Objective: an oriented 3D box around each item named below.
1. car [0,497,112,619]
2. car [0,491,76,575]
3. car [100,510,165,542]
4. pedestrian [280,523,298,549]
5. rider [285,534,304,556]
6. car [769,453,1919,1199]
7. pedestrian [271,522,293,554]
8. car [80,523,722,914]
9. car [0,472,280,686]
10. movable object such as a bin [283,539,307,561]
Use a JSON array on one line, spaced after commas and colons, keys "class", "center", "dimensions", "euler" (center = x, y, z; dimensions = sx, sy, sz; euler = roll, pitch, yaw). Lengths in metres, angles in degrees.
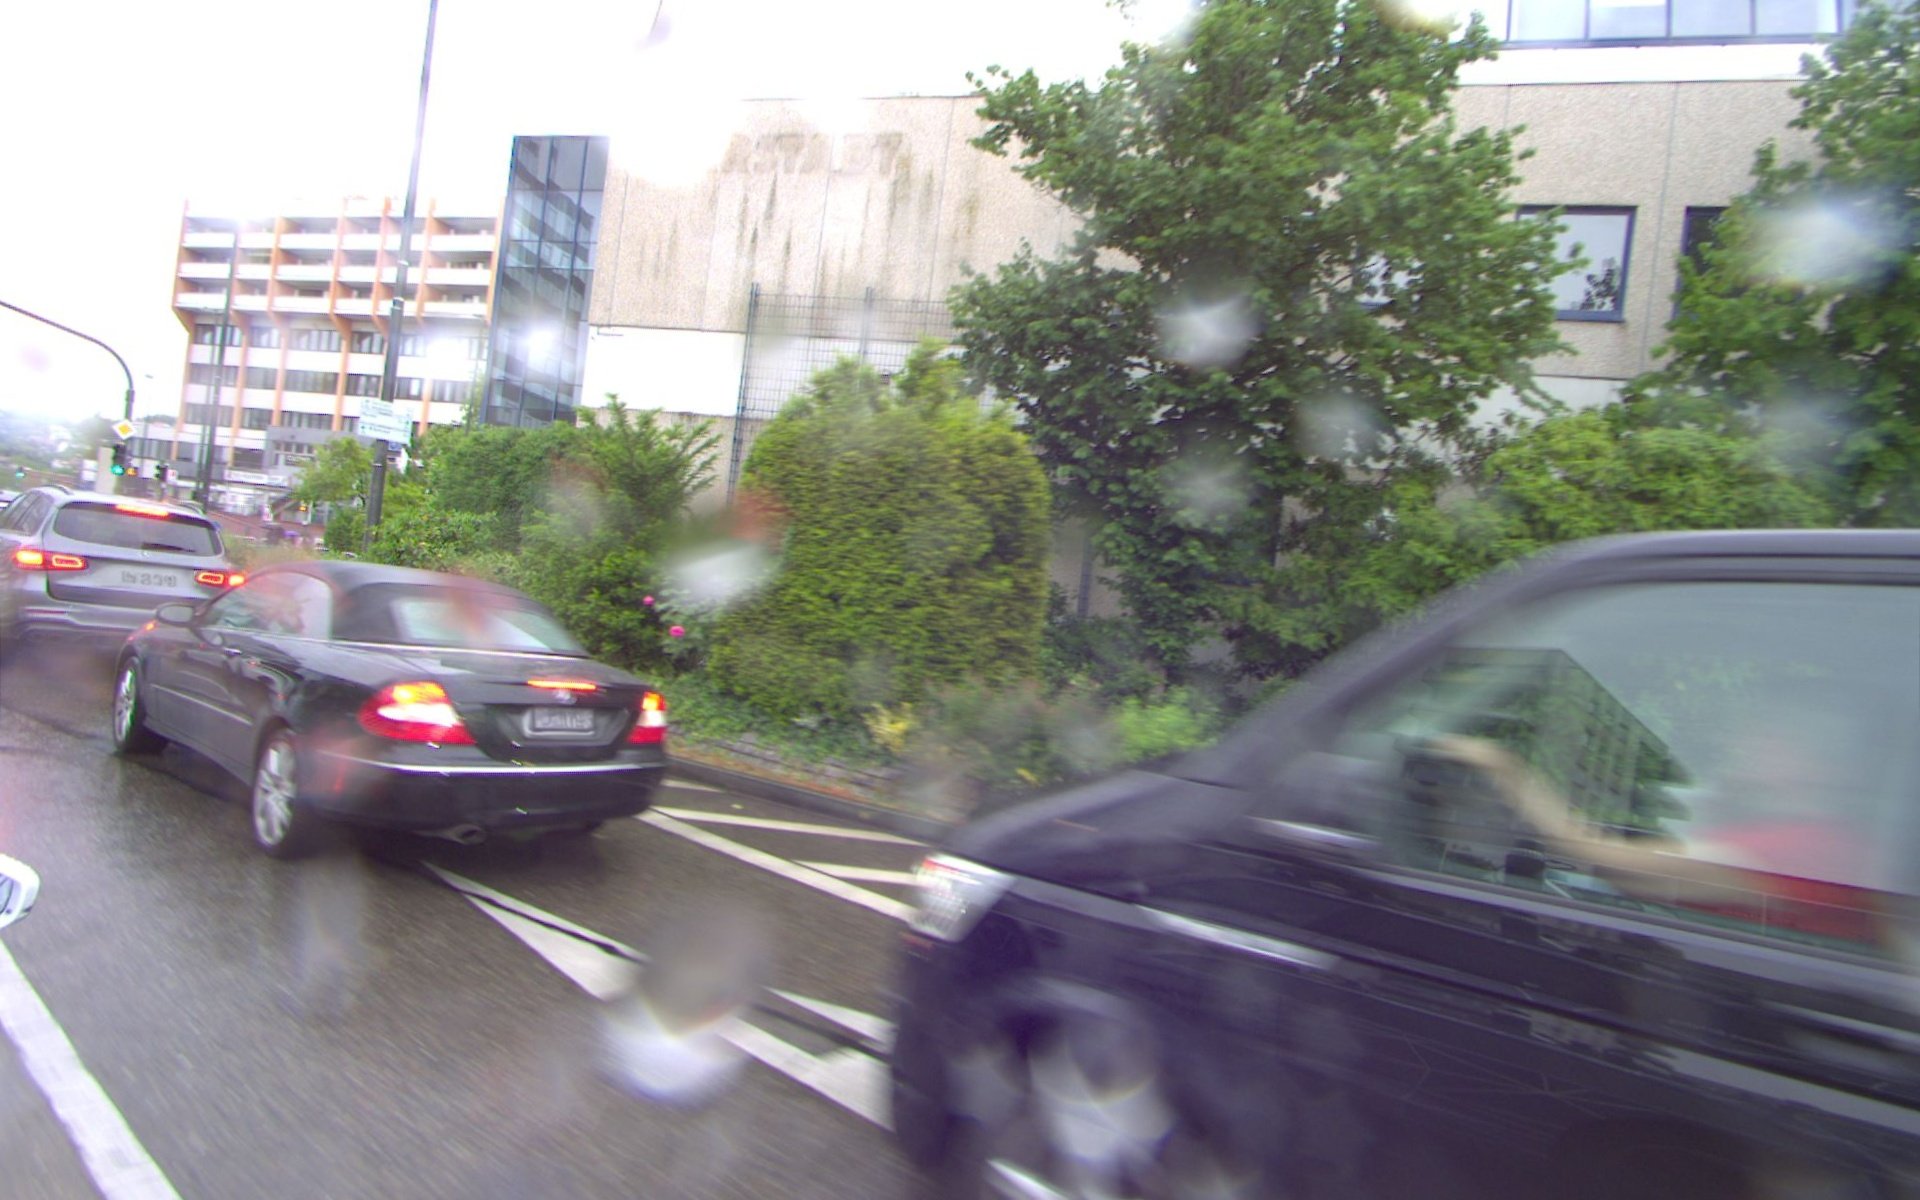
[{"class": "car", "center": [-13.902, -0.740, 14.678], "dimensions": [4.210, 1.464, 1.633], "euler": [6, -3, 42]}, {"class": "car", "center": [-18.752, -1.403, 19.573], "dimensions": [3.411, 1.417, 1.909], "euler": [6, -2, 43]}, {"class": "car", "center": [-76.435, -6.827, 92.944], "dimensions": [4.881, 2.254, 2.001], "euler": [6, 0, 14]}, {"class": "pedestrian", "center": [-37.585, -3.555, 56.377], "dimensions": [0.704, 1.362, 0.649], "euler": [6, 0, -37]}, {"class": "rider", "center": [-44.630, -3.691, 67.462], "dimensions": [0.918, 1.302, 1.078], "euler": [4, 3, -41]}, {"class": "car", "center": [2.030, 0.884, 2.010], "dimensions": [4.515, 1.916, 1.998], "euler": [6, -2, 35]}, {"class": "pedestrian", "center": [-37.610, -3.421, 55.800], "dimensions": [0.705, 1.623, 0.649], "euler": [13, -3, -35]}, {"class": "car", "center": [-3.595, 0.464, 6.070], "dimensions": [4.446, 1.402, 1.632], "euler": [6, -2, 37]}, {"class": "car", "center": [-8.785, -0.281, 10.229], "dimensions": [4.274, 1.639, 1.900], "euler": [6, -2, 40]}, {"class": "movable object such as a bin", "center": [-44.659, -3.367, 67.506], "dimensions": [1.124, 1.349, 1.438], "euler": [4, 1, -41]}]
